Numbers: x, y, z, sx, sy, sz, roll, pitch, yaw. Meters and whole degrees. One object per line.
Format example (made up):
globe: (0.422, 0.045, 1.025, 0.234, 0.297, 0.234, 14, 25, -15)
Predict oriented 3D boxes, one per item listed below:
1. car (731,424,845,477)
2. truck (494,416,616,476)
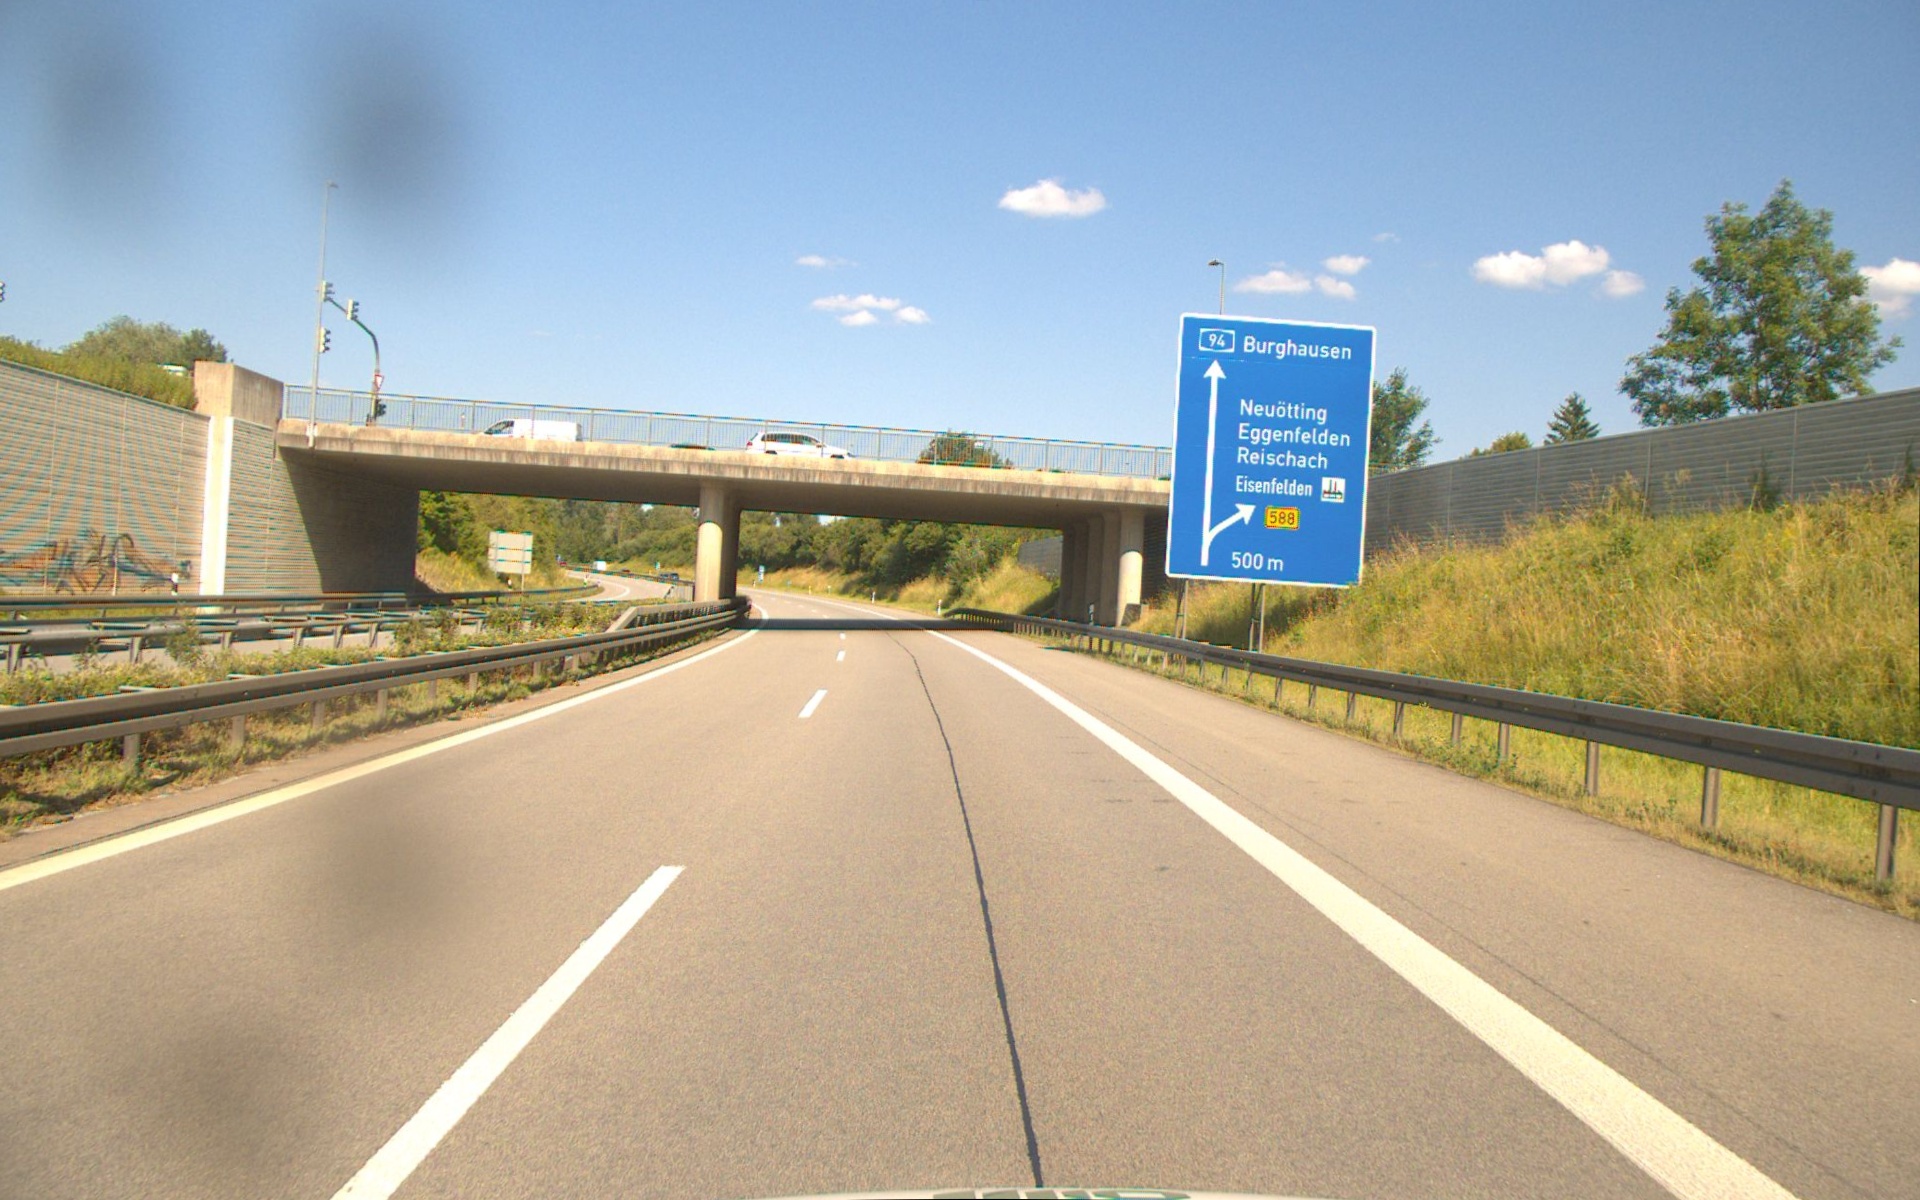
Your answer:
car: (-6.771, -5.892, 65.284, 4.316, 1.625, 1.998, 3, -1, -5)
truck: (-17.077, -6.503, 70.024, 4.764, 2.205, 1.997, 1, -1, -8)
